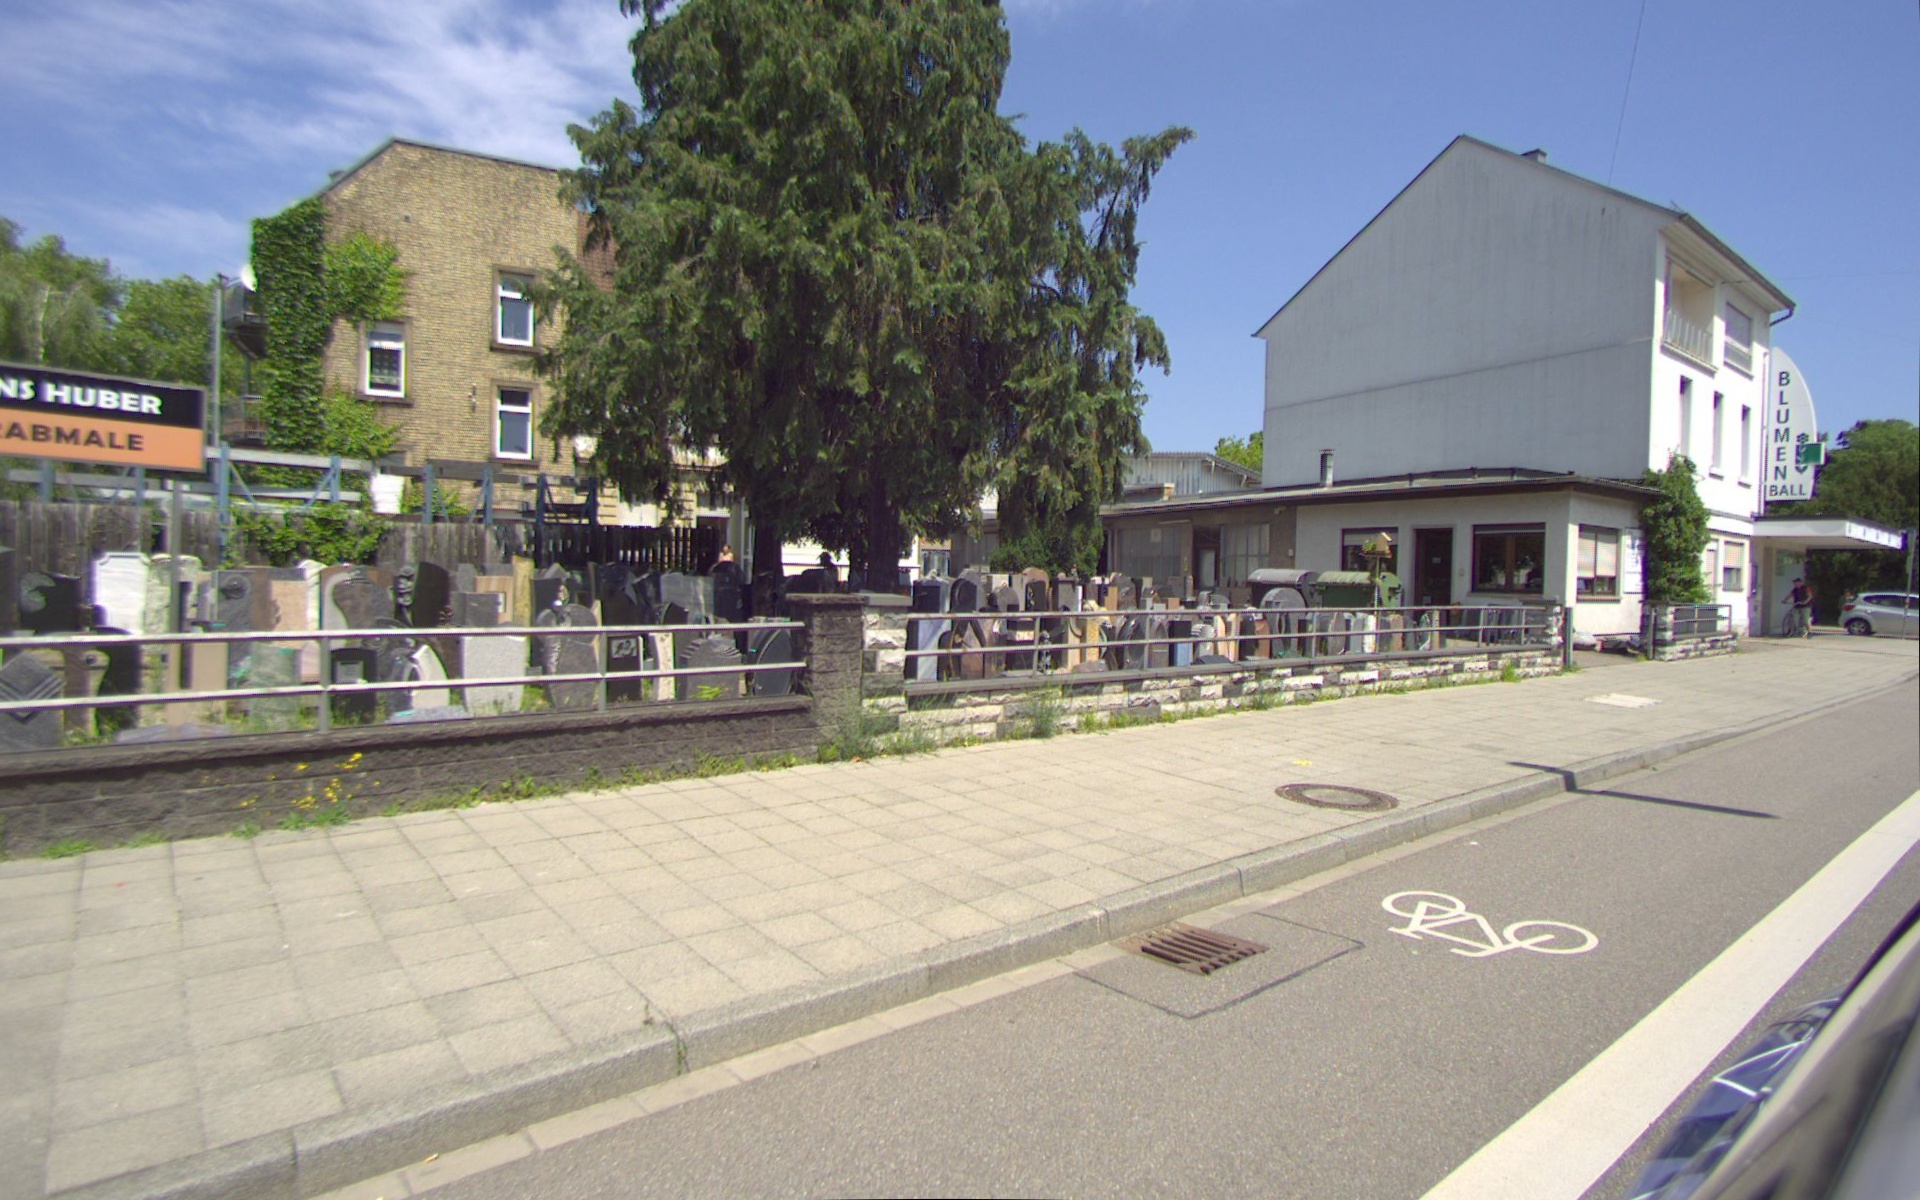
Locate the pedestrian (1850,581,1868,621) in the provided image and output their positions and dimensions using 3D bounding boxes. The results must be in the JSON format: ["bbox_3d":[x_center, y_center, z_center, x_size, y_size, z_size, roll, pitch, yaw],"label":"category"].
[{"bbox_3d":[36.977,0.044,41.630,0.533,1.618,0.420,0,0,38],"label":"pedestrian"}]

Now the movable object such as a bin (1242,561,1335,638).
[{"bbox_3d":[6.692,-0.030,20.673,1.129,1.499,1.392,0,1,-35],"label":"movable object such as a bin"}]

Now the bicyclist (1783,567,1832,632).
[{"bbox_3d":[25.787,-0.029,30.797,0.870,1.897,0.793,1,3,-32],"label":"bicyclist"}]

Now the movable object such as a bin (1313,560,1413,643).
[{"bbox_3d":[7.713,0.004,19.403,1.130,1.499,1.391,0,1,-38],"label":"movable object such as a bin"}]

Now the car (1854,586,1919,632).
[{"bbox_3d":[34.107,0.353,35.377,1.666,1.536,3.999,0,2,-37],"label":"car"}]

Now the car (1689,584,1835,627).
[{"bbox_3d":[32.932,0.204,41.665,1.566,1.475,4.462,2,2,-39],"label":"car"}]

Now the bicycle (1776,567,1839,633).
[{"bbox_3d":[25.796,0.014,30.809,1.920,1.923,0.802,1,3,-32],"label":"bicycle"}]
